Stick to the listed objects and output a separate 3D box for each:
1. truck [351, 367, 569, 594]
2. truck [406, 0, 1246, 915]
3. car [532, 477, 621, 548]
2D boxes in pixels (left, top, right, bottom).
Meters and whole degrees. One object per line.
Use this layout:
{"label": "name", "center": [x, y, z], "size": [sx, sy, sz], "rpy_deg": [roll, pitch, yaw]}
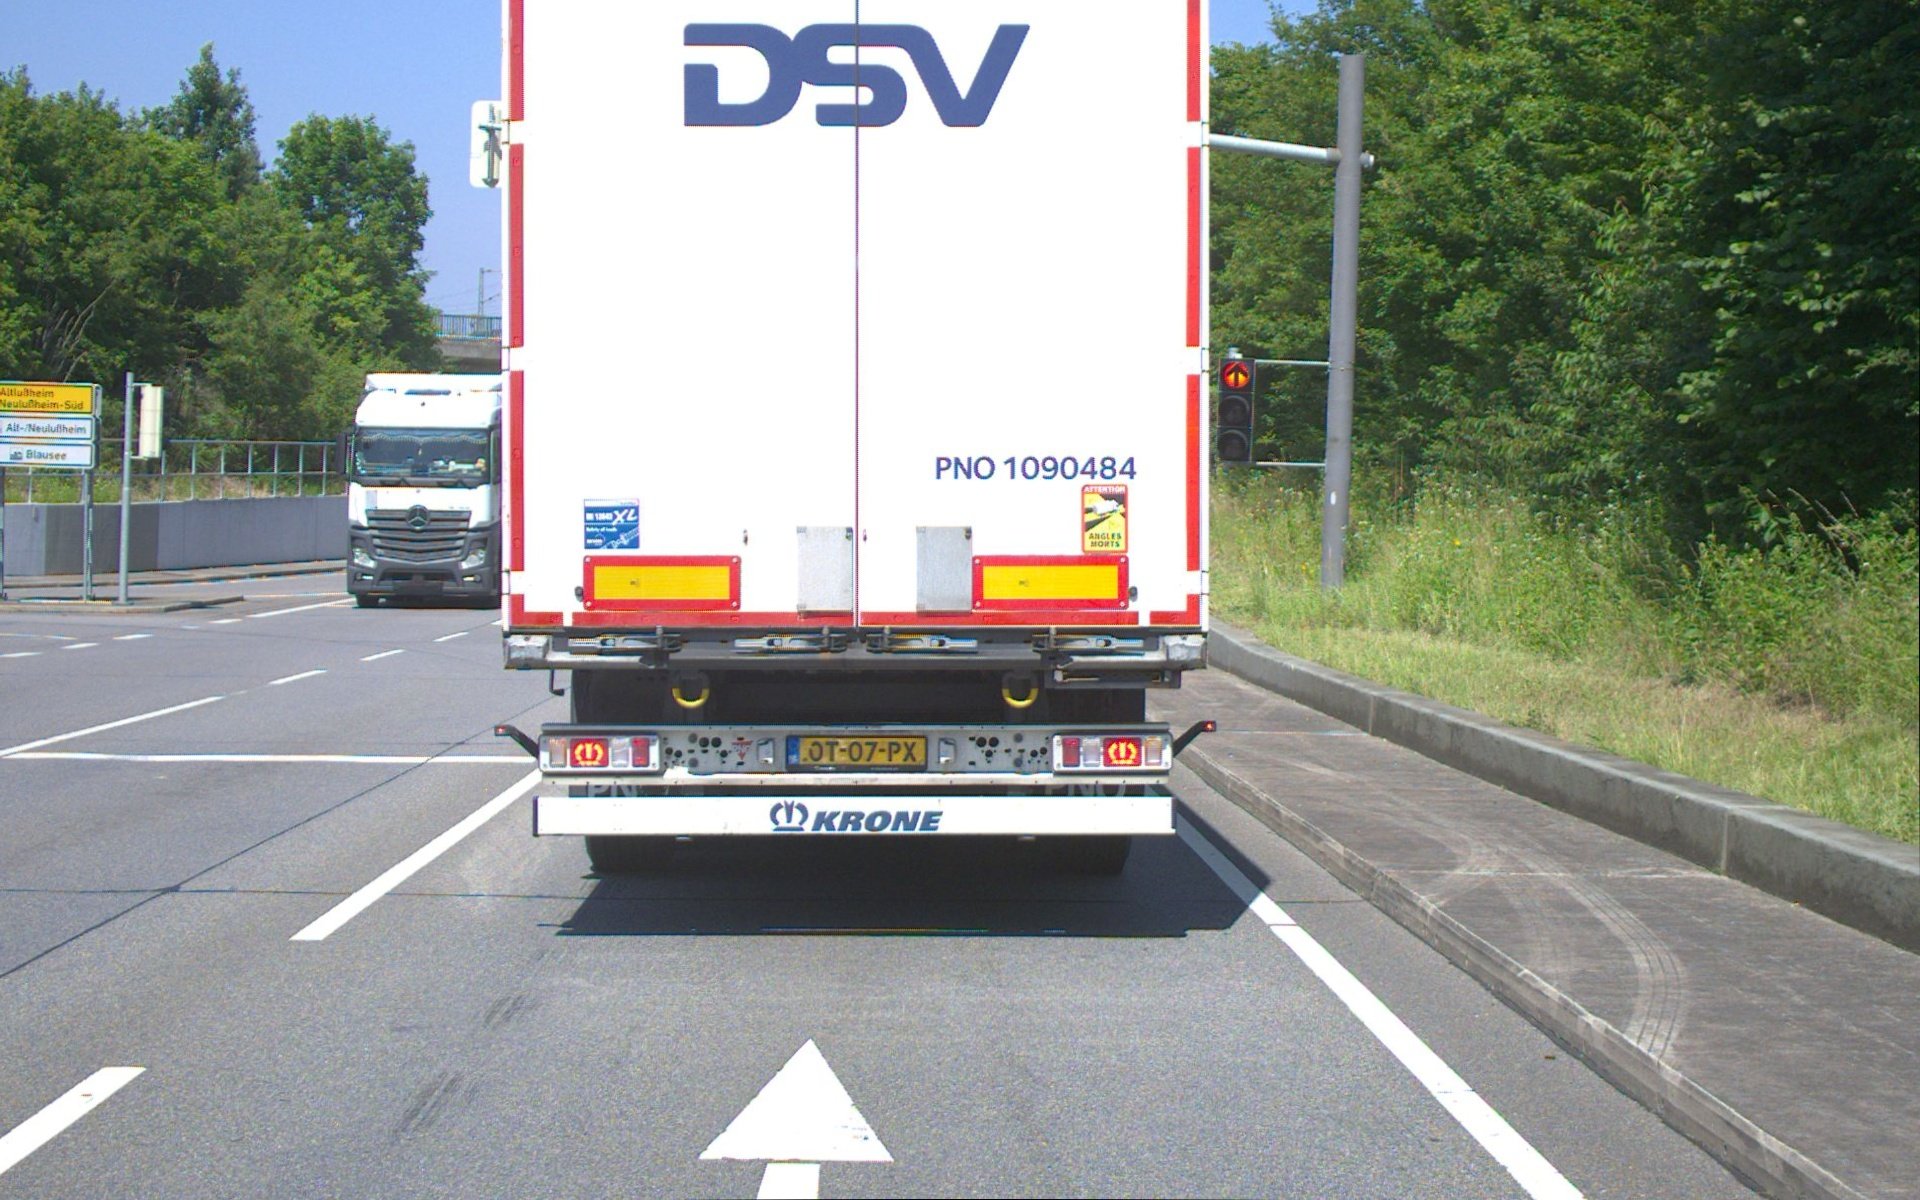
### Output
{"label": "truck", "center": [-9.030, -2.192, 63.434], "size": [2.353, 3.737, 12.627], "rpy_deg": [0, 2, -1]}
{"label": "truck", "center": [-0.610, -1.278, 17.100], "size": [2.949, 4.553, 9.864], "rpy_deg": [0, 1, -2]}
{"label": "car", "center": [-8.969, -2.063, 80.602], "size": [1.747, 1.620, 3.704], "rpy_deg": [0, 2, -1]}
